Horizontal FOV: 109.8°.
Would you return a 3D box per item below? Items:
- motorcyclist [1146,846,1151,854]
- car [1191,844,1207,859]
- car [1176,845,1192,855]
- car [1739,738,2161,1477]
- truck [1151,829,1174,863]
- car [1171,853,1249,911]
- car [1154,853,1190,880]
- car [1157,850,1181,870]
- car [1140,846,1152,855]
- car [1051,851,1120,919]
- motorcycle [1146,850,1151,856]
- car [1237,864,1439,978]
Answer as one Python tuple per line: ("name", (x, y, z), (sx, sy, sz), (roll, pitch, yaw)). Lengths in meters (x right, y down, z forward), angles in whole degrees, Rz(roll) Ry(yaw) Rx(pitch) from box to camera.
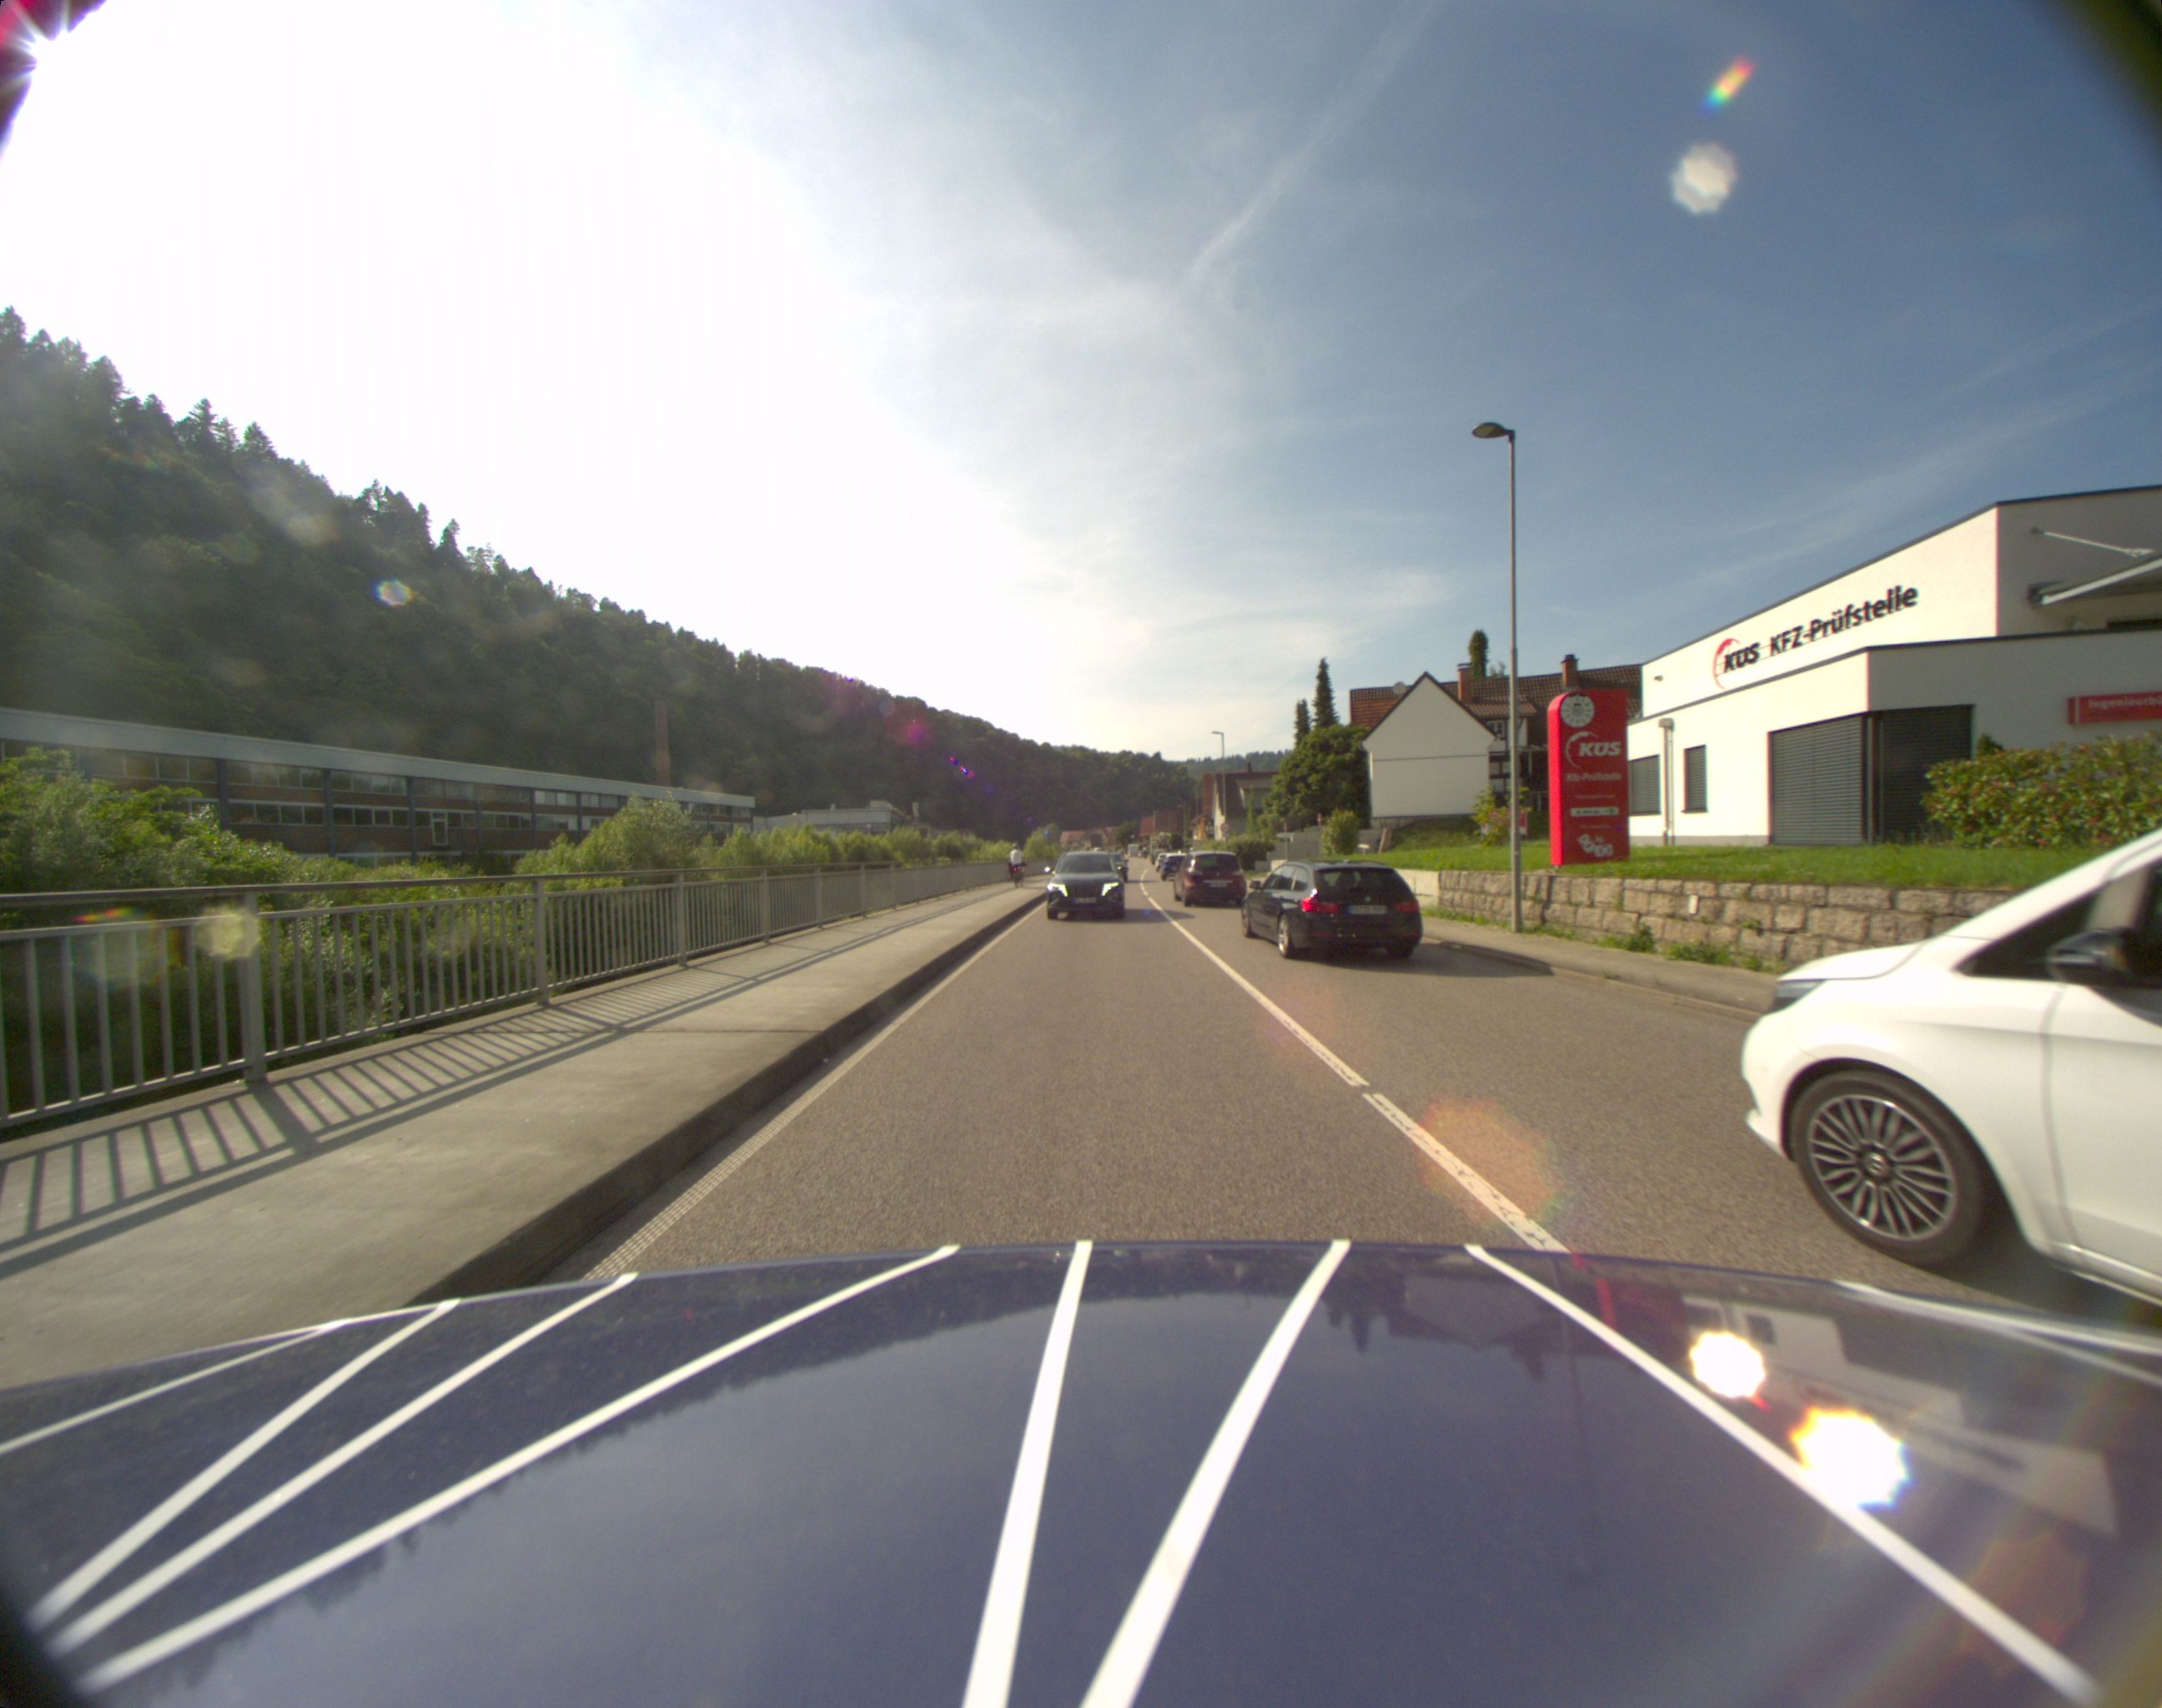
("motorcyclist", (12.473, -0.742, 140.536), (0.827, 1.549, 0.628), (-2, 2, 9))
("car", (14.944, -0.342, 96.213), (1.904, 1.655, 4.269), (-3, 1, 9))
("car", (16.258, -0.631, 120.415), (1.889, 1.510, 4.236), (-3, 1, 0))
("car", (3.722, 0.636, 0.501), (1.901, 1.876, 5.294), (-1, 0, -2))
("truck", (9.976, -0.964, 93.672), (2.583, 3.909, 11.308), (-1, 1, 5))
("car", (3.878, 0.787, 23.491), (1.801, 1.609, 4.463), (0, 0, 2))
("car", (5.272, 0.698, 44.414), (1.748, 1.517, 4.000), (0, 0, 2))
("car", (7.418, 0.480, 64.384), (1.753, 1.495, 4.191), (-3, 0, 3))
("car", (13.318, -0.721, 155.827), (1.632, 1.476, 4.003), (-4, 1, 15))
("car", (0.034, 0.762, 20.722), (1.649, 1.639, 3.999), (-1, 0, -3))
("motorcycle", (12.490, -0.205, 140.652), (0.655, 1.062, 2.183), (-2, 1, 8))
("car", (3.757, 0.892, 11.935), (1.778, 1.391, 4.233), (-1, 0, 0))
